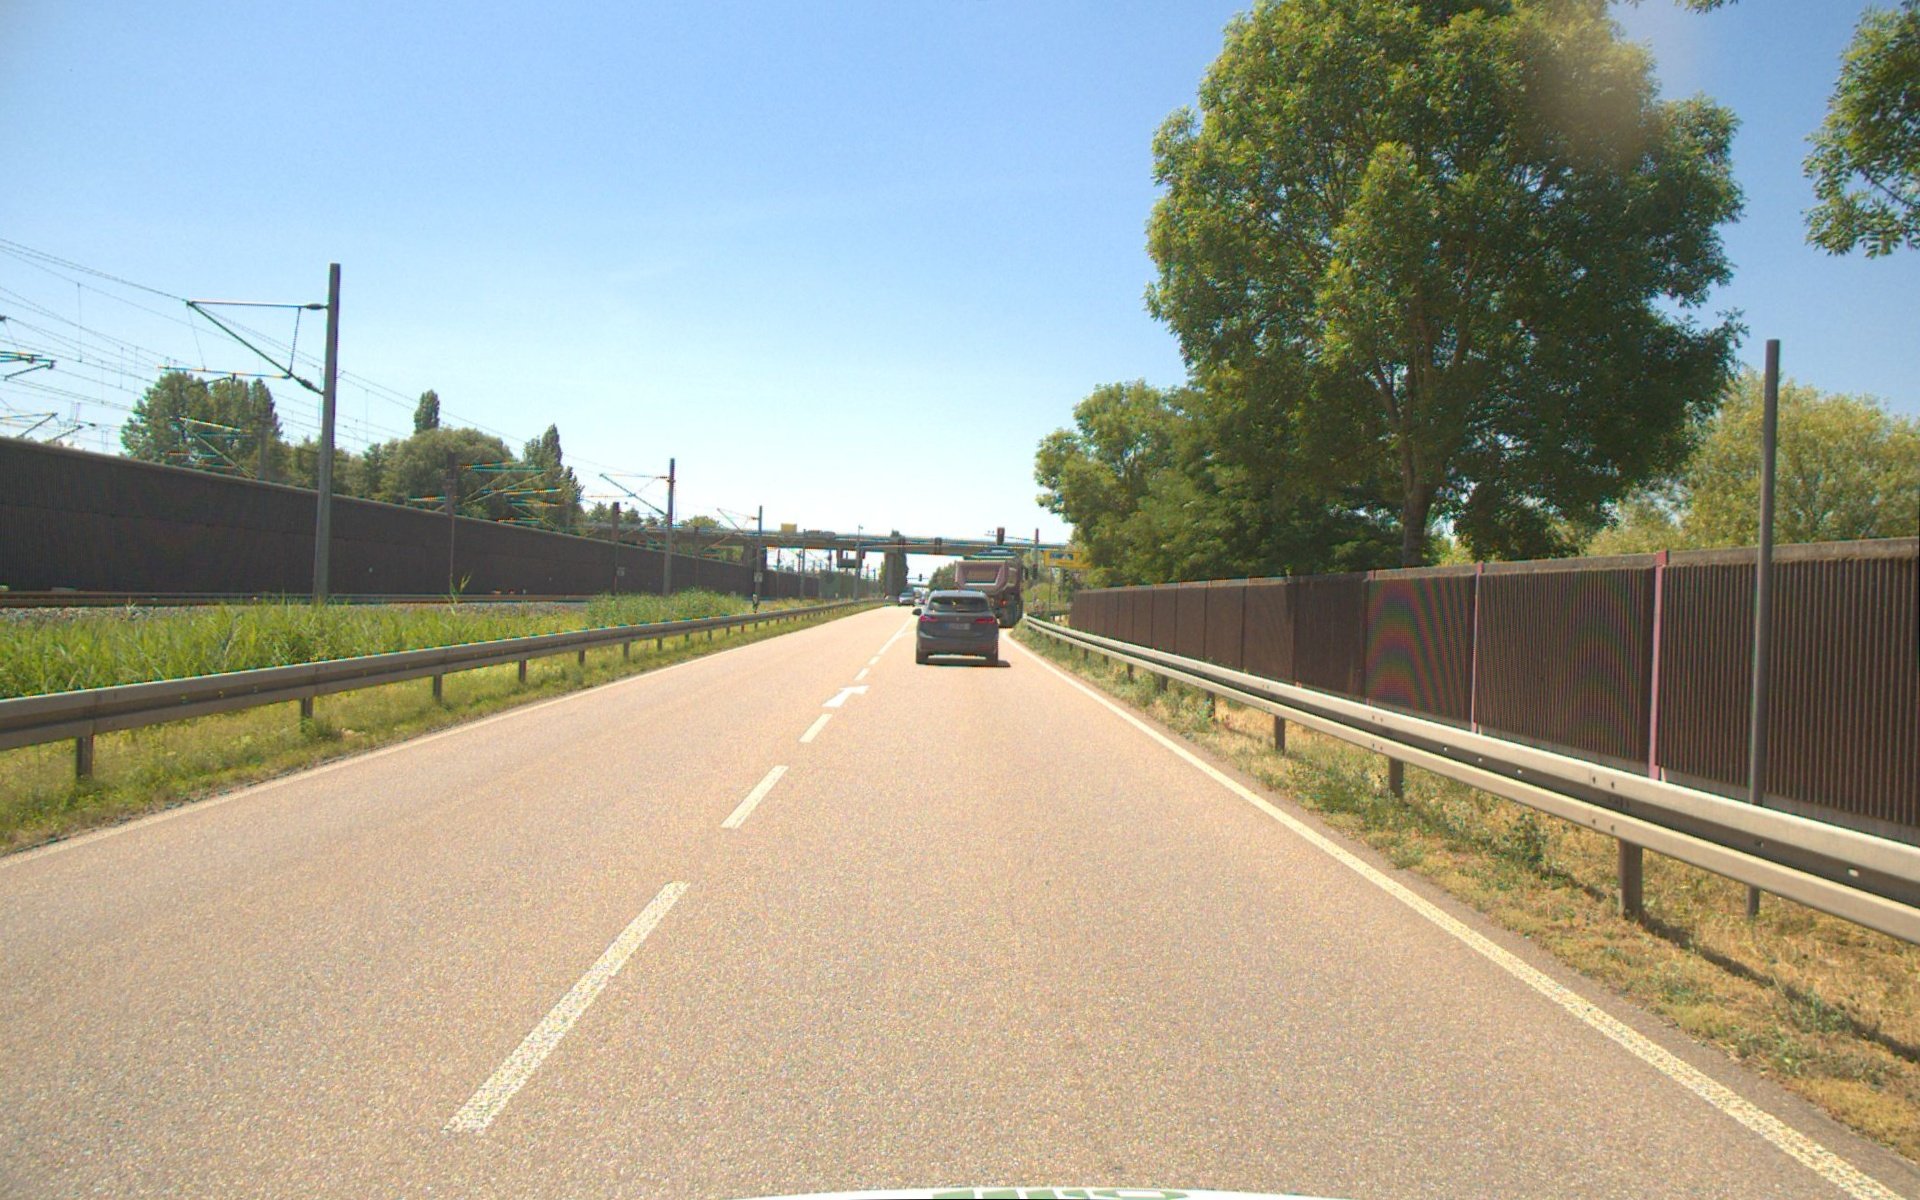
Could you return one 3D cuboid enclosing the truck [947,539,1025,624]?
[{"bbox_3d":[1.431,-0.871,82.405,2.773,3.888,11.893,1,0,6],"label":"truck"}]

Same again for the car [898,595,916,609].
[{"bbox_3d":[-5.823,0.205,180.191,1.827,1.511,4.884,1,0,-3],"label":"car"}]

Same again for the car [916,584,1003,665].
[{"bbox_3d":[-0.032,0.512,36.695,1.807,1.651,4.225,1,0,-1],"label":"car"}]
